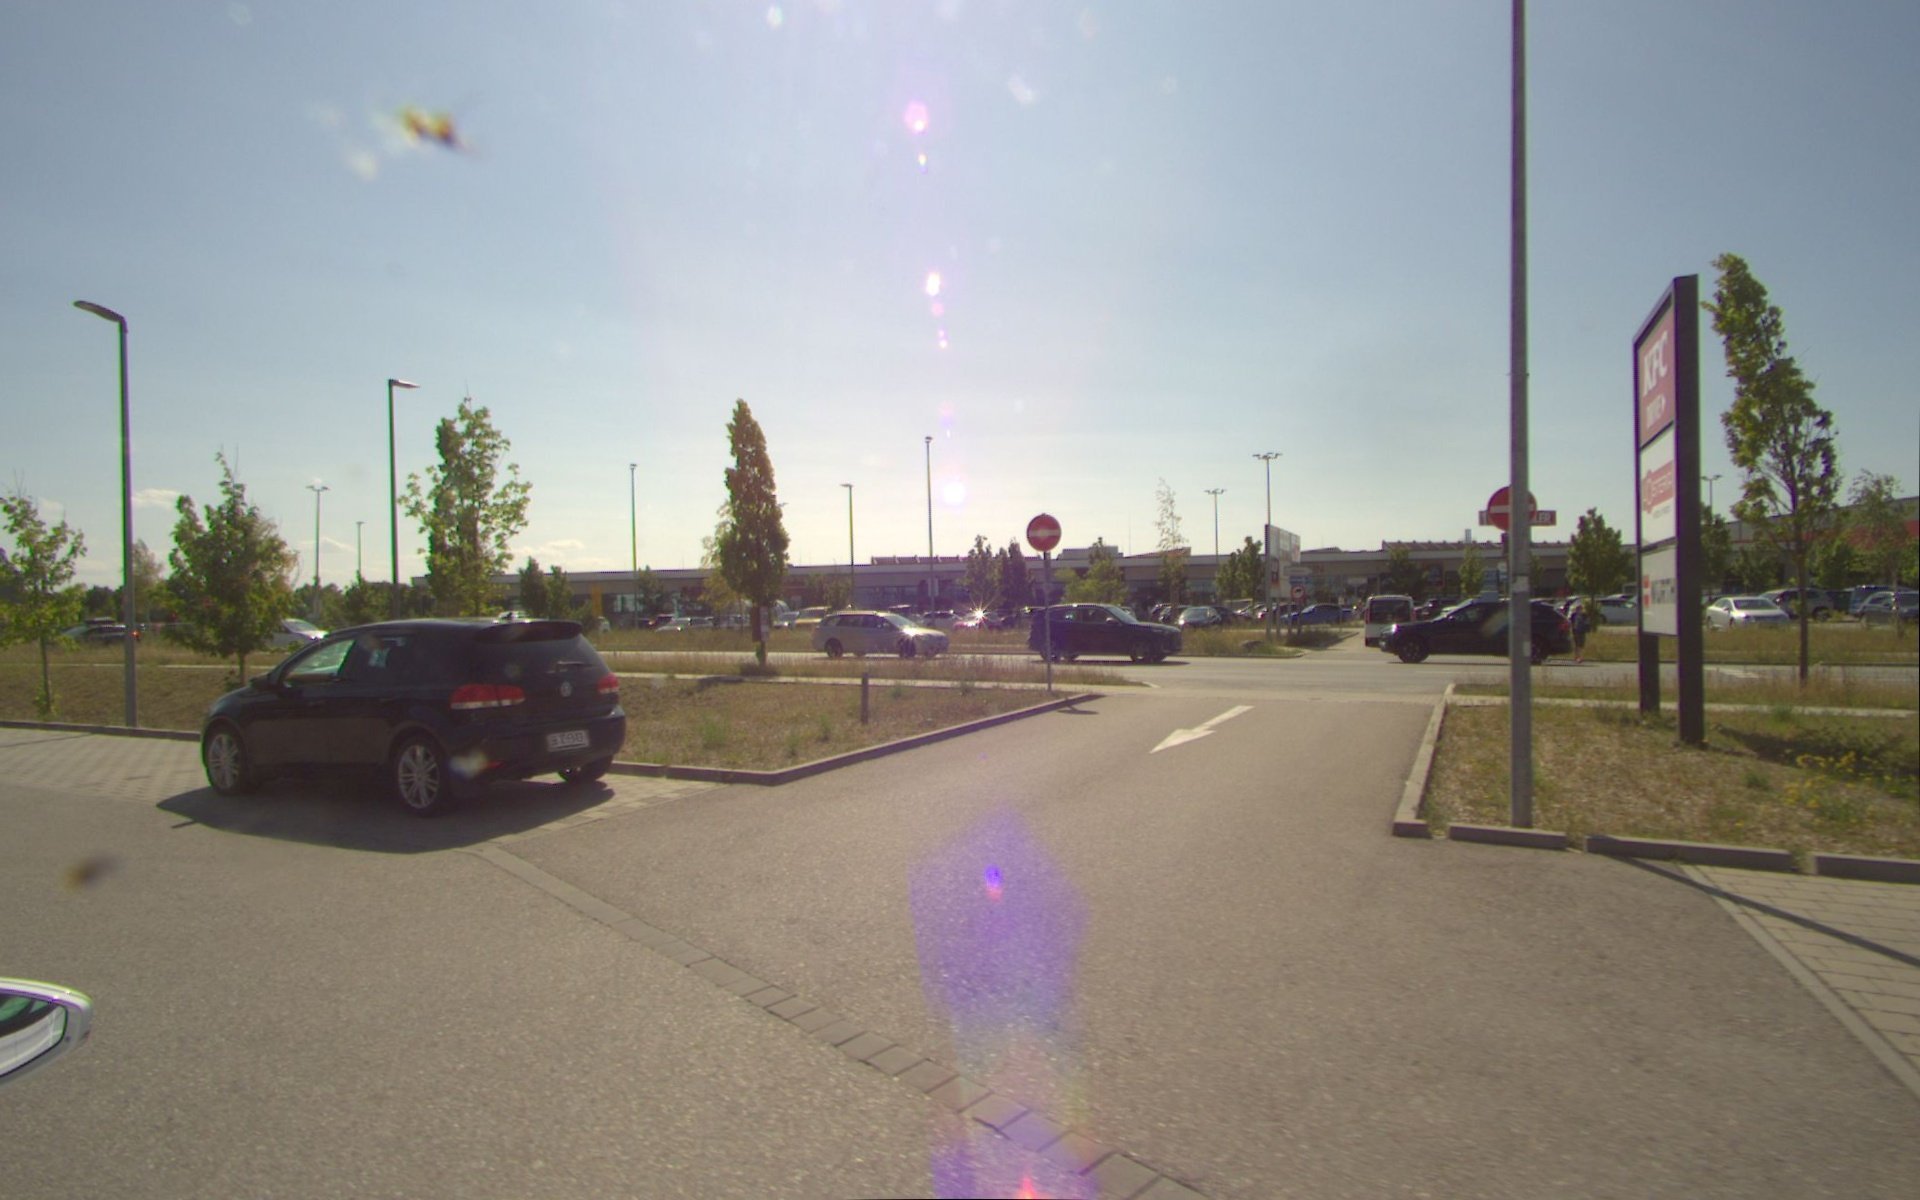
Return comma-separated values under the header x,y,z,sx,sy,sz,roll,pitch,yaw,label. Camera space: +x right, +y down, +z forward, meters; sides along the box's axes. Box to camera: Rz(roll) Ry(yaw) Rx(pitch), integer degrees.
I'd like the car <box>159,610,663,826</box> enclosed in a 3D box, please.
x,y,z,sx,sy,sz,roll,pitch,yaw,label
-4.841,0.876,8.823,4.053,1.497,1.835,-1,1,25,car

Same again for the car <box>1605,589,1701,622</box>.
x,y,z,sx,sy,sz,roll,pitch,yaw,label
41.172,0.340,59.557,4.319,1.880,1.956,0,0,4,car

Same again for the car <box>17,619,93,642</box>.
x,y,z,sx,sy,sz,roll,pitch,yaw,label
-58.575,1.983,64.905,1.558,1.413,3.716,-1,-1,0,car

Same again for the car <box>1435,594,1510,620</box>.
x,y,z,sx,sy,sz,roll,pitch,yaw,label
36.368,0.502,71.188,4.318,1.880,1.956,0,0,2,car

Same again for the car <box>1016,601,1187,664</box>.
x,y,z,sx,sy,sz,roll,pitch,yaw,label
4.055,0.894,28.677,4.528,1.686,1.873,0,0,25,car

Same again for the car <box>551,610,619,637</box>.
x,y,z,sx,sy,sz,roll,pitch,yaw,label
-24.567,1.522,65.768,1.964,1.748,4.418,0,-1,17,car

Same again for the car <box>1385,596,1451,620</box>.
x,y,z,sx,sy,sz,roll,pitch,yaw,label
36.315,0.619,79.489,4.318,1.880,1.956,0,0,2,car

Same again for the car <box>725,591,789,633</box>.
x,y,z,sx,sy,sz,roll,pitch,yaw,label
-12.460,0.765,61.862,1.963,2.487,5.072,0,-1,14,car

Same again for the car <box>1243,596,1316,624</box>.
x,y,z,sx,sy,sz,roll,pitch,yaw,label
22.130,0.708,69.400,4.484,1.880,1.956,0,0,4,car

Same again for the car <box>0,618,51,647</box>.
x,y,z,sx,sy,sz,roll,pitch,yaw,label
-54.222,1.843,56.891,1.681,1.618,3.667,0,-1,5,car

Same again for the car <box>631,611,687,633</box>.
x,y,z,sx,sy,sz,roll,pitch,yaw,label
-22.966,1.678,76.458,3.613,1.639,1.906,0,0,11,car

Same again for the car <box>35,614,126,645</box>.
x,y,z,sx,sy,sz,roll,pitch,yaw,label
-48.477,1.597,55.278,1.681,1.618,3.667,0,-1,5,car

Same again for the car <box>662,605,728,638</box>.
x,y,z,sx,sy,sz,roll,pitch,yaw,label
-16.947,1.356,64.311,1.963,2.040,5.072,0,-1,14,car

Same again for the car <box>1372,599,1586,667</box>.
x,y,z,sx,sy,sz,roll,pitch,yaw,label
13.363,0.833,26.147,4.722,1.646,1.996,0,0,20,car

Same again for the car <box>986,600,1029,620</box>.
x,y,z,sx,sy,sz,roll,pitch,yaw,label
3.844,0.824,81.723,3.408,1.572,1.667,0,0,-1,car

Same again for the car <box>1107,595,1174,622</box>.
x,y,z,sx,sy,sz,roll,pitch,yaw,label
14.080,0.661,78.190,4.836,2.040,2.082,0,0,0,car

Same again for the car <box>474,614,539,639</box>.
x,y,z,sx,sy,sz,roll,pitch,yaw,label
-29.782,1.708,65.799,1.810,1.639,3.659,0,-1,23,car

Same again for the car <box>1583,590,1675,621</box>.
x,y,z,sx,sy,sz,roll,pitch,yaw,label
41.286,0.373,61.903,4.319,1.880,1.956,0,0,4,car

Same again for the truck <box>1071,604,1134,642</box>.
x,y,z,sx,sy,sz,roll,pitch,yaw,label
7.603,1.186,53.091,1.967,1.888,5.418,0,-1,23,truck

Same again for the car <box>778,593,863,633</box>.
x,y,z,sx,sy,sz,roll,pitch,yaw,label
-8.354,0.775,60.732,2.766,2.266,6.303,0,-1,17,car

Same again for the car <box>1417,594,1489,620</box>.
x,y,z,sx,sy,sz,roll,pitch,yaw,label
36.399,0.541,73.975,4.318,1.880,1.956,0,0,2,car

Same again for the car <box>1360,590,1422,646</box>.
x,y,z,sx,sy,sz,roll,pitch,yaw,label
16.392,0.680,37.971,1.849,1.980,4.876,0,-1,27,car

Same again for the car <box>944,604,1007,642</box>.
x,y,z,sx,sy,sz,roll,pitch,yaw,label
0.897,1.254,56.313,1.969,2.040,4.075,0,-1,27,car

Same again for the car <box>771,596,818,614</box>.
x,y,z,sx,sy,sz,roll,pitch,yaw,label
-13.269,0.417,80.412,3.419,1.418,1.431,0,0,11,car

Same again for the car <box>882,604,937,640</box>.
x,y,z,sx,sy,sz,roll,pitch,yaw,label
-2.974,1.288,60.176,1.963,2.040,5.175,0,-1,14,car

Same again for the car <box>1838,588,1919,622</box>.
x,y,z,sx,sy,sz,roll,pitch,yaw,label
52.332,0.270,56.152,4.319,1.880,1.956,0,0,4,car

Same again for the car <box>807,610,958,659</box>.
x,y,z,sx,sy,sz,roll,pitch,yaw,label
-2.499,1.068,32.189,4.528,1.503,1.873,0,-1,25,car

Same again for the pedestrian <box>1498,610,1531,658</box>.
x,y,z,sx,sy,sz,roll,pitch,yaw,label
16.379,1.005,29.601,0.713,1.416,0.863,-1,-1,21,pedestrian

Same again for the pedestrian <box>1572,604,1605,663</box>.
x,y,z,sx,sy,sz,roll,pitch,yaw,label
17.541,0.915,27.951,0.745,1.620,0.689,0,0,30,pedestrian

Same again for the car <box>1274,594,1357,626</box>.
x,y,z,sx,sy,sz,roll,pitch,yaw,label
21.779,0.619,61.479,4.484,1.880,1.956,0,0,4,car

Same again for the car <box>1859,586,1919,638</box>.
x,y,z,sx,sy,sz,roll,pitch,yaw,label
36.445,0.459,38.327,1.925,1.880,4.388,0,-1,27,car

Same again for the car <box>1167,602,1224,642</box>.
x,y,z,sx,sy,sz,roll,pitch,yaw,label
11.893,1.086,50.318,1.967,1.870,4.718,0,-1,24,car

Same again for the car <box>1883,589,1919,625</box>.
x,y,z,sx,sy,sz,roll,pitch,yaw,label
52.142,0.364,53.171,4.319,1.880,1.956,0,0,4,car

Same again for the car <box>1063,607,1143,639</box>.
x,y,z,sx,sy,sz,roll,pitch,yaw,label
8.420,1.345,59.070,4.331,1.870,1.995,0,0,22,car

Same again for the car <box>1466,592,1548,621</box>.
x,y,z,sx,sy,sz,roll,pitch,yaw,label
35.918,0.427,65.815,4.319,1.880,1.956,0,0,4,car

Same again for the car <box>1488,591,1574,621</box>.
x,y,z,sx,sy,sz,roll,pitch,yaw,label
36.058,0.393,63.346,4.319,1.880,1.956,0,0,4,car

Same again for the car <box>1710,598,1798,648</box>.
x,y,z,sx,sy,sz,roll,pitch,yaw,label
31.909,0.910,40.366,1.969,1.880,4.270,0,-1,27,car

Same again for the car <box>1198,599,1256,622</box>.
x,y,z,sx,sy,sz,roll,pitch,yaw,label
21.821,0.860,81.961,4.319,1.880,1.956,0,0,4,car

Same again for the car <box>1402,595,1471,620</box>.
x,y,z,sx,sy,sz,roll,pitch,yaw,label
36.475,0.580,76.755,4.318,1.880,1.956,0,0,2,car

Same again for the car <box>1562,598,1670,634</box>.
x,y,z,sx,sy,sz,roll,pitch,yaw,label
34.424,0.844,52.653,4.319,1.880,1.956,0,0,4,car

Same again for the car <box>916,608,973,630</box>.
x,y,z,sx,sy,sz,roll,pitch,yaw,label
-1.123,1.418,74.538,3.925,1.639,1.999,-1,0,12,car

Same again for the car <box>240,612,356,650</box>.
x,y,z,sx,sy,sz,roll,pitch,yaw,label
-27.474,1.269,41.574,3.926,1.503,1.877,0,0,14,car
